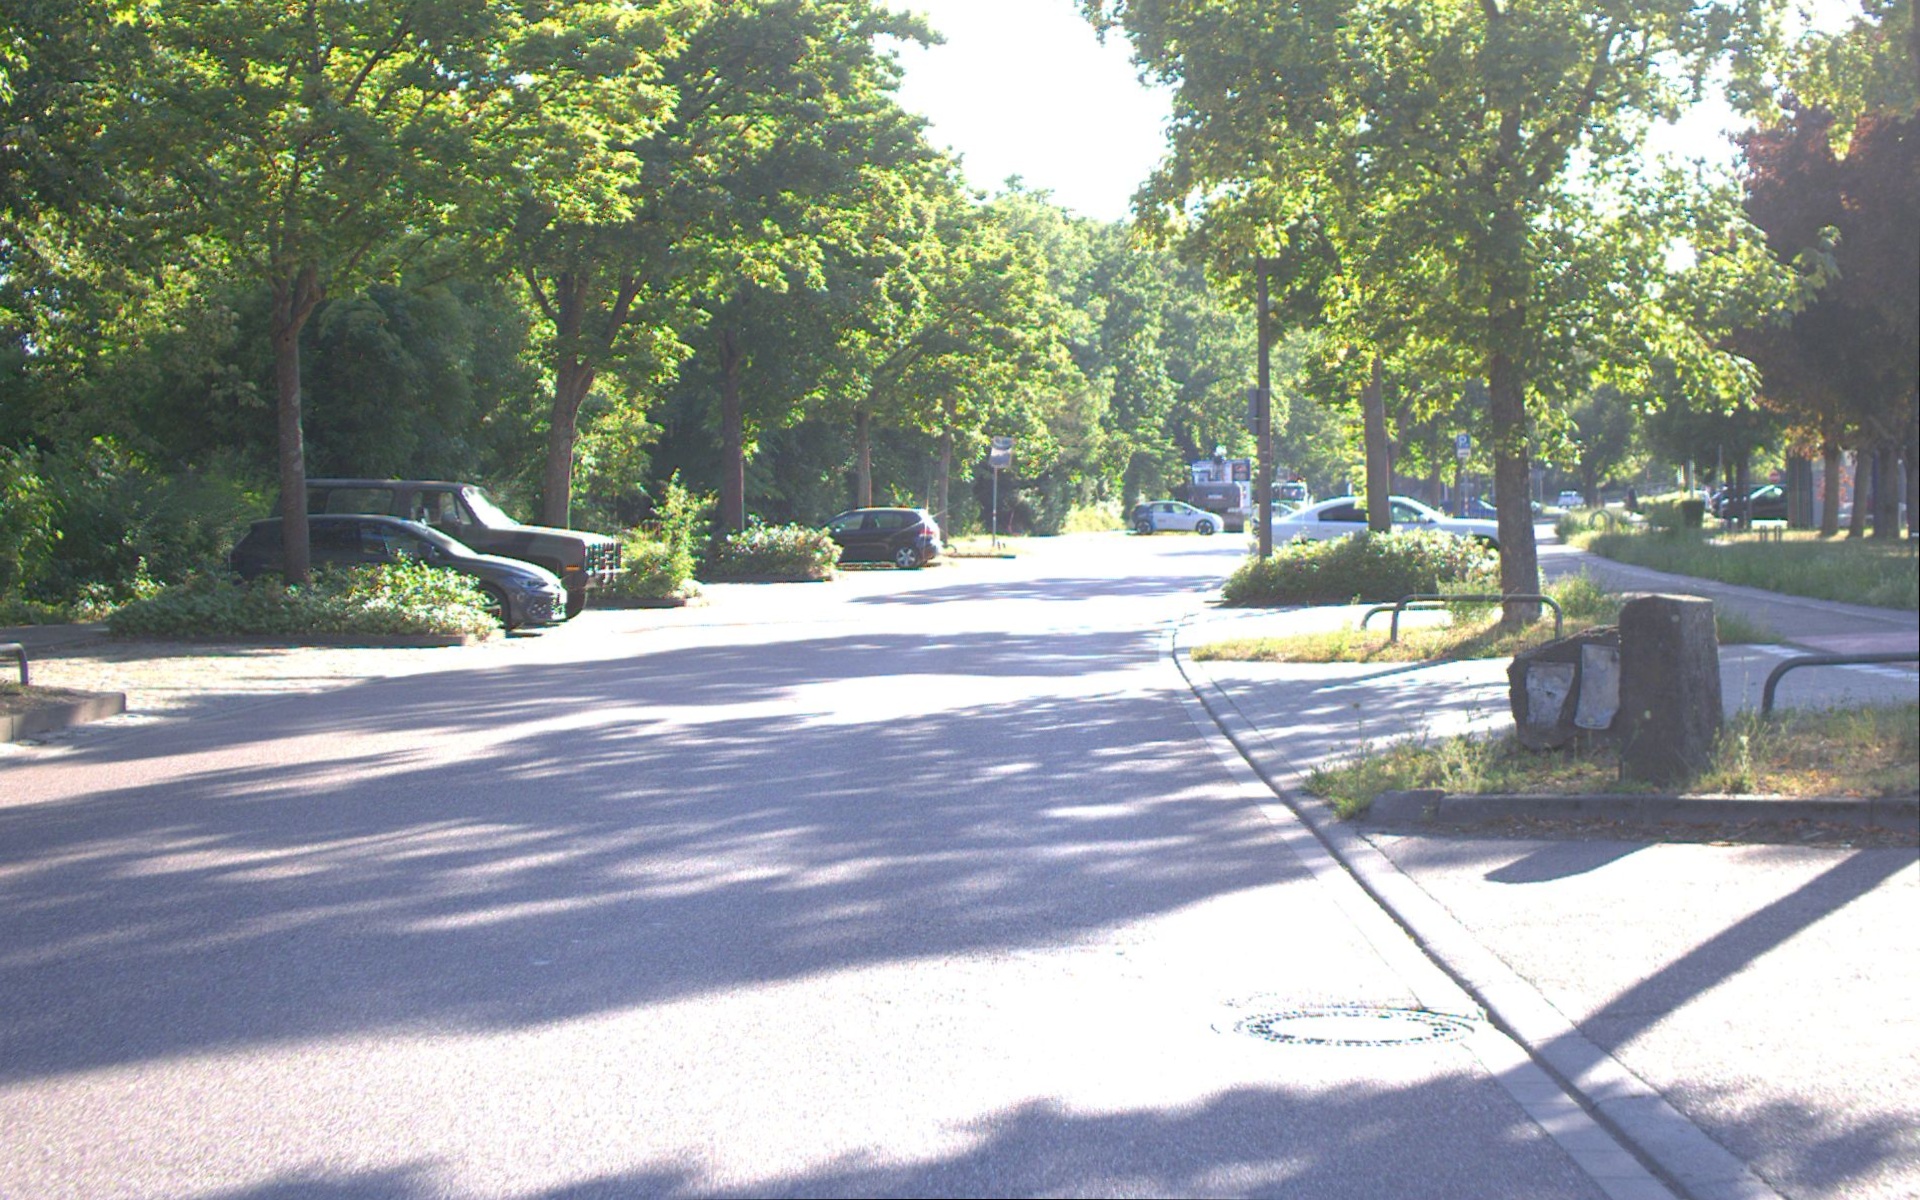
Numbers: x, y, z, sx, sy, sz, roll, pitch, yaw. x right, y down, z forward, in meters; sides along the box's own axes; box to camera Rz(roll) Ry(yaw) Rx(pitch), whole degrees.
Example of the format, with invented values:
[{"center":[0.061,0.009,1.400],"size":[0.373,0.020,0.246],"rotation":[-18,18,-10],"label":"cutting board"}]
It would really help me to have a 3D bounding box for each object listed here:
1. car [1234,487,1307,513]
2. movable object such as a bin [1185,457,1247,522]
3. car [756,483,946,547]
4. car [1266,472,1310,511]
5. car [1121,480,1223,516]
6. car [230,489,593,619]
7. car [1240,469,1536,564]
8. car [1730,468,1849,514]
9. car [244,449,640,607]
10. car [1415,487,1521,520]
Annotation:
[{"center":[18.812,-6.068,208.543],"size":[4.359,1.474,2.000],"rotation":[-1,2,4],"label":"car"},{"center":[12.573,-5.431,168.816],"size":[2.839,3.058,4.926],"rotation":[-1,2,6],"label":"movable object such as a bin"},{"center":[-2.651,-2.097,84.009],"size":[4.360,1.474,2.000],"rotation":[1,2,7],"label":"car"},{"center":[20.753,-6.850,217.671],"size":[2.517,2.377,4.373],"rotation":[-1,2,3],"label":"car"},{"center":[9.659,-4.659,156.462],"size":[4.360,1.541,1.999],"rotation":[-1,2,11],"label":"car"},{"center":[-6.876,-0.592,43.344],"size":[4.212,1.525,1.705],"rotation":[-1,2,3],"label":"car"},{"center":[7.673,-1.512,62.033],"size":[5.176,1.568,2.158],"rotation":[-1,2,5],"label":"car"},{"center":[32.888,-4.324,136.408],"size":[4.431,1.700,2.059],"rotation":[-1,2,9],"label":"car"},{"center":[-7.081,-0.999,47.333],"size":[5.005,2.013,2.174],"rotation":[-1,2,3],"label":"car"},{"center":[24.137,-4.593,163.318],"size":[4.844,1.474,1.999],"rotation":[-1,2,11],"label":"car"}]
